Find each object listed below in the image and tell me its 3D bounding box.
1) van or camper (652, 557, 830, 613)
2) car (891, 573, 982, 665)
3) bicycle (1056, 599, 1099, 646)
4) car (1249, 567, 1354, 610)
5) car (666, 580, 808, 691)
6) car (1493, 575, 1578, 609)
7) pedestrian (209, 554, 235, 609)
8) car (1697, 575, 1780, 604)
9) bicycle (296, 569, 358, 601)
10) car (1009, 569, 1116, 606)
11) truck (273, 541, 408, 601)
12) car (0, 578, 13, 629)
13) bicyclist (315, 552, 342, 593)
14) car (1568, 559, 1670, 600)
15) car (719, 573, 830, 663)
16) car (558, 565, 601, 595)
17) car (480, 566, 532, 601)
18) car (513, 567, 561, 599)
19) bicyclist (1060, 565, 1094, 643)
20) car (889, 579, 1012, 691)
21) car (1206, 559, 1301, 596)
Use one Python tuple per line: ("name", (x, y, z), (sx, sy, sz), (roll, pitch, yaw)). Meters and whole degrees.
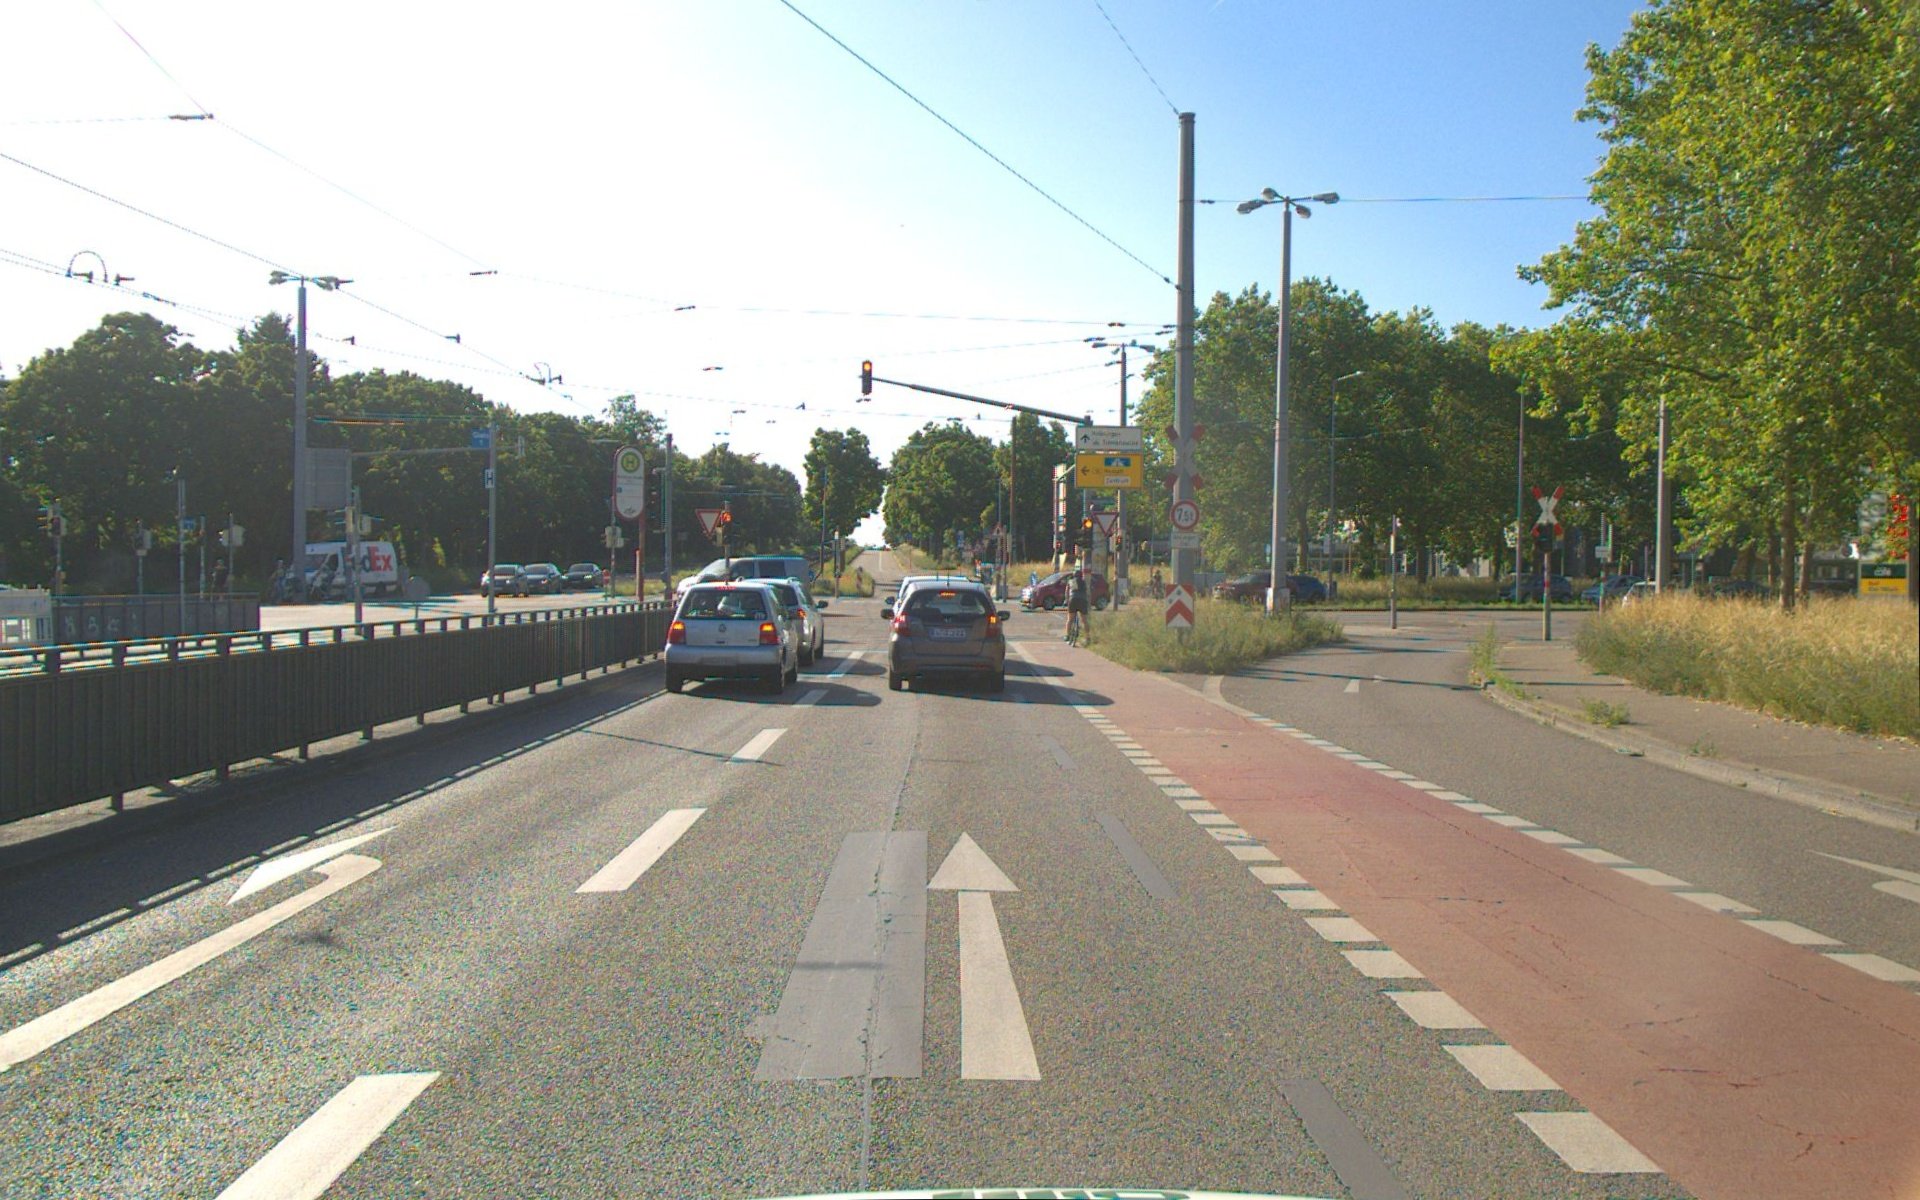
("van or camper", (-7.527, -0.529, 57.165), (5.921, 1.860, 1.974), (-1, 1, -37))
("car", (-0.439, 0.298, 31.055), (1.578, 1.589, 4.287), (1, 1, -1))
("bicycle", (2.698, 0.501, 38.331), (0.707, 1.006, 2.875), (2, 0, -1))
("car", (16.417, -0.540, 79.552), (4.625, 1.912, 1.986), (2, 0, -24))
("car", (-3.057, 0.450, 23.188), (1.586, 1.442, 3.350), (0, 0, -1))
("car", (29.904, -0.430, 85.936), (3.930, 1.606, 1.869), (2, 0, -22))
("pedestrian", (-27.924, -0.701, 62.591), (0.735, 2.049, 0.789), (0, 1, -13))
("car", (43.386, -0.582, 92.119), (4.449, 1.601, 1.681), (0, 1, -23))
("bicycle", (-26.262, -0.623, 68.698), (2.360, 1.285, 0.813), (0, 1, -19))
("car", (4.049, -0.495, 65.312), (3.950, 1.427, 1.598), (0, 1, -24))
("truck", (-27.962, -1.300, 74.976), (1.951, 2.609, 6.827), (1, 1, 17))
("car", (-28.317, 0.092, 45.716), (3.621, 1.402, 1.514), (0, 1, -27))
("bicyclist", (-26.231, -1.157, 68.698), (0.991, 1.676, 0.813), (0, 1, -19))
("car", (33.437, -1.032, 83.917), (4.822, 2.049, 1.986), (0, 1, -24))
("car", (-3.277, 0.290, 29.907), (1.586, 1.482, 4.084), (1, 0, -1))
("car", (-21.550, -1.156, 93.835), (1.956, 1.632, 4.747), (1, 1, -8))
("car", (-21.095, -0.774, 76.969), (1.797, 1.575, 3.994), (0, 1, -7))
("car", (-21.296, -0.848, 83.345), (1.797, 1.575, 4.278), (0, 1, -7))
("bicyclist", (2.712, 0.089, 38.249), (0.652, 1.746, 0.948), (2, 0, -1))
("car", (-0.206, 0.455, 24.219), (1.635, 1.487, 3.584), (1, 1, -3))
("car", (12.977, -1.005, 73.040), (3.934, 1.557, 1.594), (-1, 1, -24))
